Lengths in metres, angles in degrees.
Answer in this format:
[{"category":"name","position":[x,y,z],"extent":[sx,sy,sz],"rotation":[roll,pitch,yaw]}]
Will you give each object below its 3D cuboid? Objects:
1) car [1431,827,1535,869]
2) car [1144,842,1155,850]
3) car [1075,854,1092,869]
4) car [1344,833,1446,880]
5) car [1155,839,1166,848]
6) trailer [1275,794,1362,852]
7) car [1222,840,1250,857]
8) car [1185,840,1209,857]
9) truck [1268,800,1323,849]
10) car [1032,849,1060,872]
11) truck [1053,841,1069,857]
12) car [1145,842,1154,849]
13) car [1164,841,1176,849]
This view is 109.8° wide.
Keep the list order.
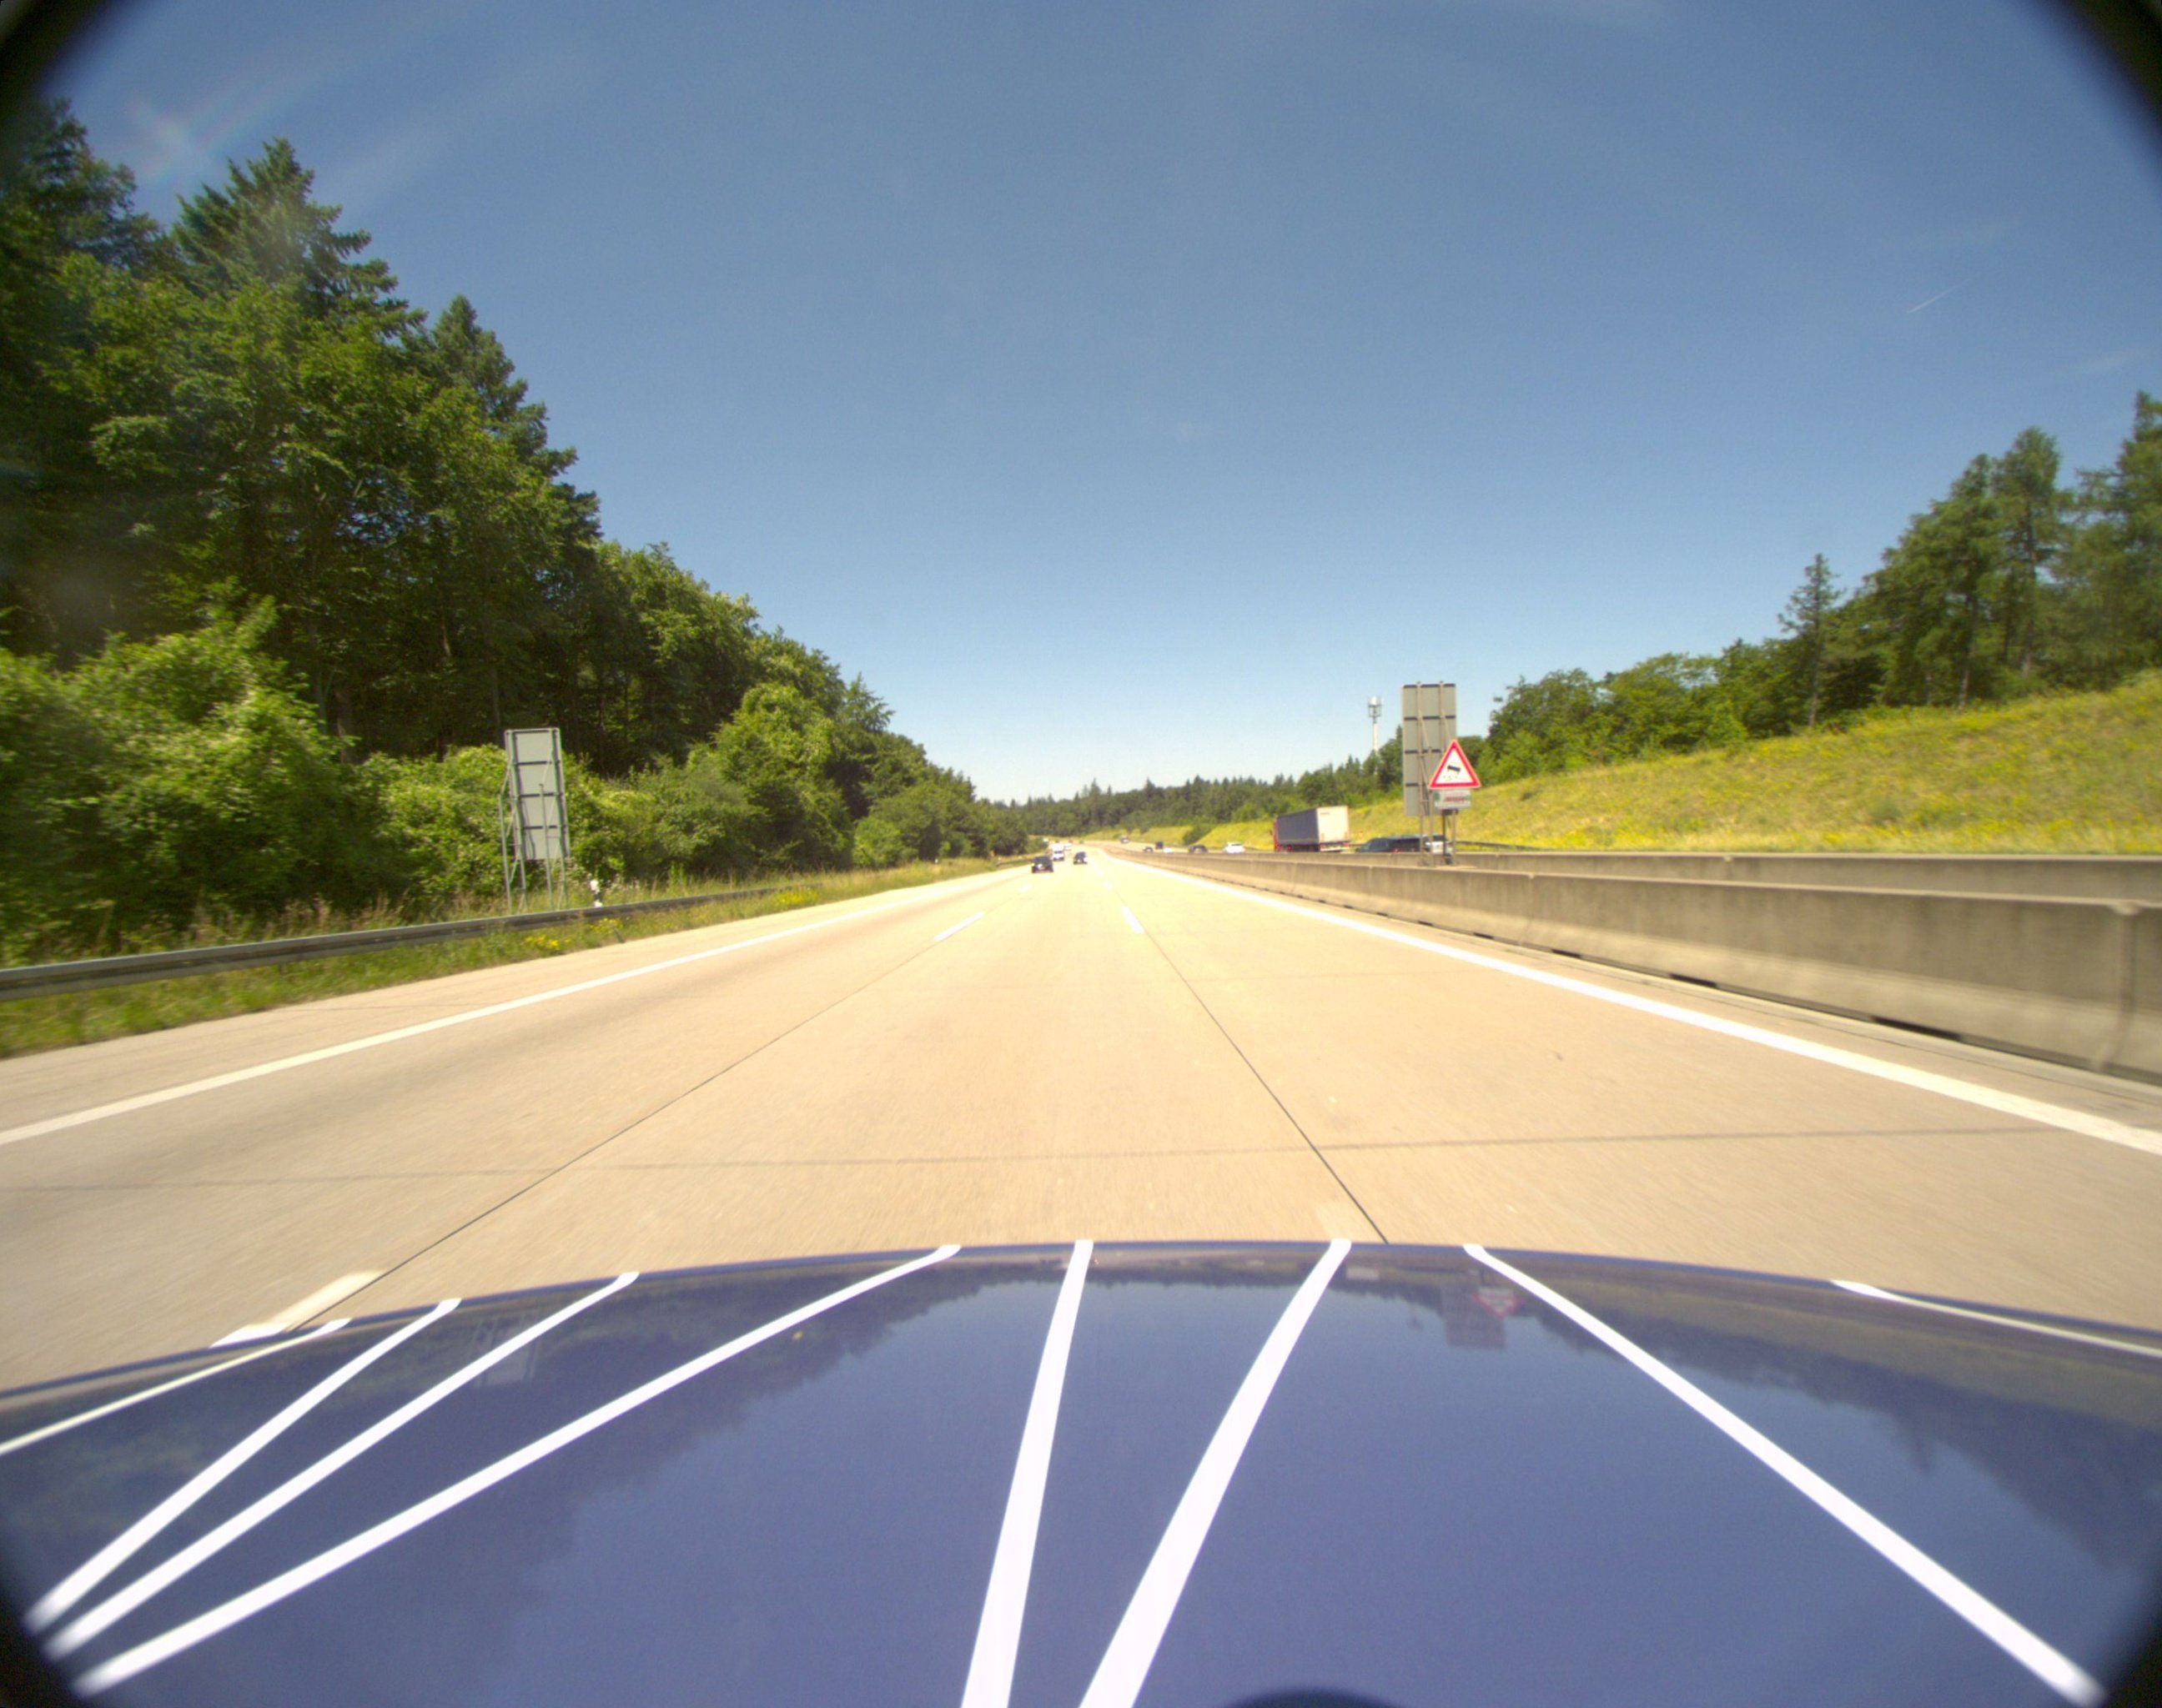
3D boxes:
[{"category":"car","position":[16.836,-0.266,32.122],"extent":[1.998,1.549,4.498],"rotation":[-3,1,1]},{"category":"car","position":[14.881,-1.678,165.916],"extent":[1.998,1.529,4.195],"rotation":[-4,1,1]},{"category":"car","position":[0.318,0.995,100.047],"extent":[1.998,1.694,4.399],"rotation":[-4,1,2]},{"category":"car","position":[11.802,0.060,28.925],"extent":[1.998,1.549,4.498],"rotation":[-3,1,1]},{"category":"car","position":[23.122,-3.032,220.699],"extent":[2.487,2.197,6.458],"rotation":[-4,1,1]},{"category":"trailer","position":[20.846,-2.661,68.000],"extent":[3.395,4.406,13.921],"rotation":[-4,1,1]},{"category":"car","position":[16.850,-0.597,82.642],"extent":[1.998,1.682,4.815],"rotation":[-3,1,1]},{"category":"car","position":[12.917,-0.624,84.776],"extent":[1.998,1.682,4.371],"rotation":[-3,1,1]},{"category":"truck","position":[20.970,-2.814,74.814],"extent":[3.395,4.406,6.799],"rotation":[-4,1,1]},{"category":"car","position":[-2.977,0.537,65.557],"extent":[1.931,1.694,4.399],"rotation":[-4,1,2]},{"category":"truck","position":[-3.939,-1.007,151.289],"extent":[2.483,2.780,5.914],"rotation":[-4,1,2]},{"category":"car","position":[19.887,-2.411,221.218],"extent":[2.013,1.797,4.853],"rotation":[-4,1,1]},{"category":"car","position":[18.318,-1.894,156.890],"extent":[1.998,1.555,3.999],"rotation":[-4,1,1]}]
